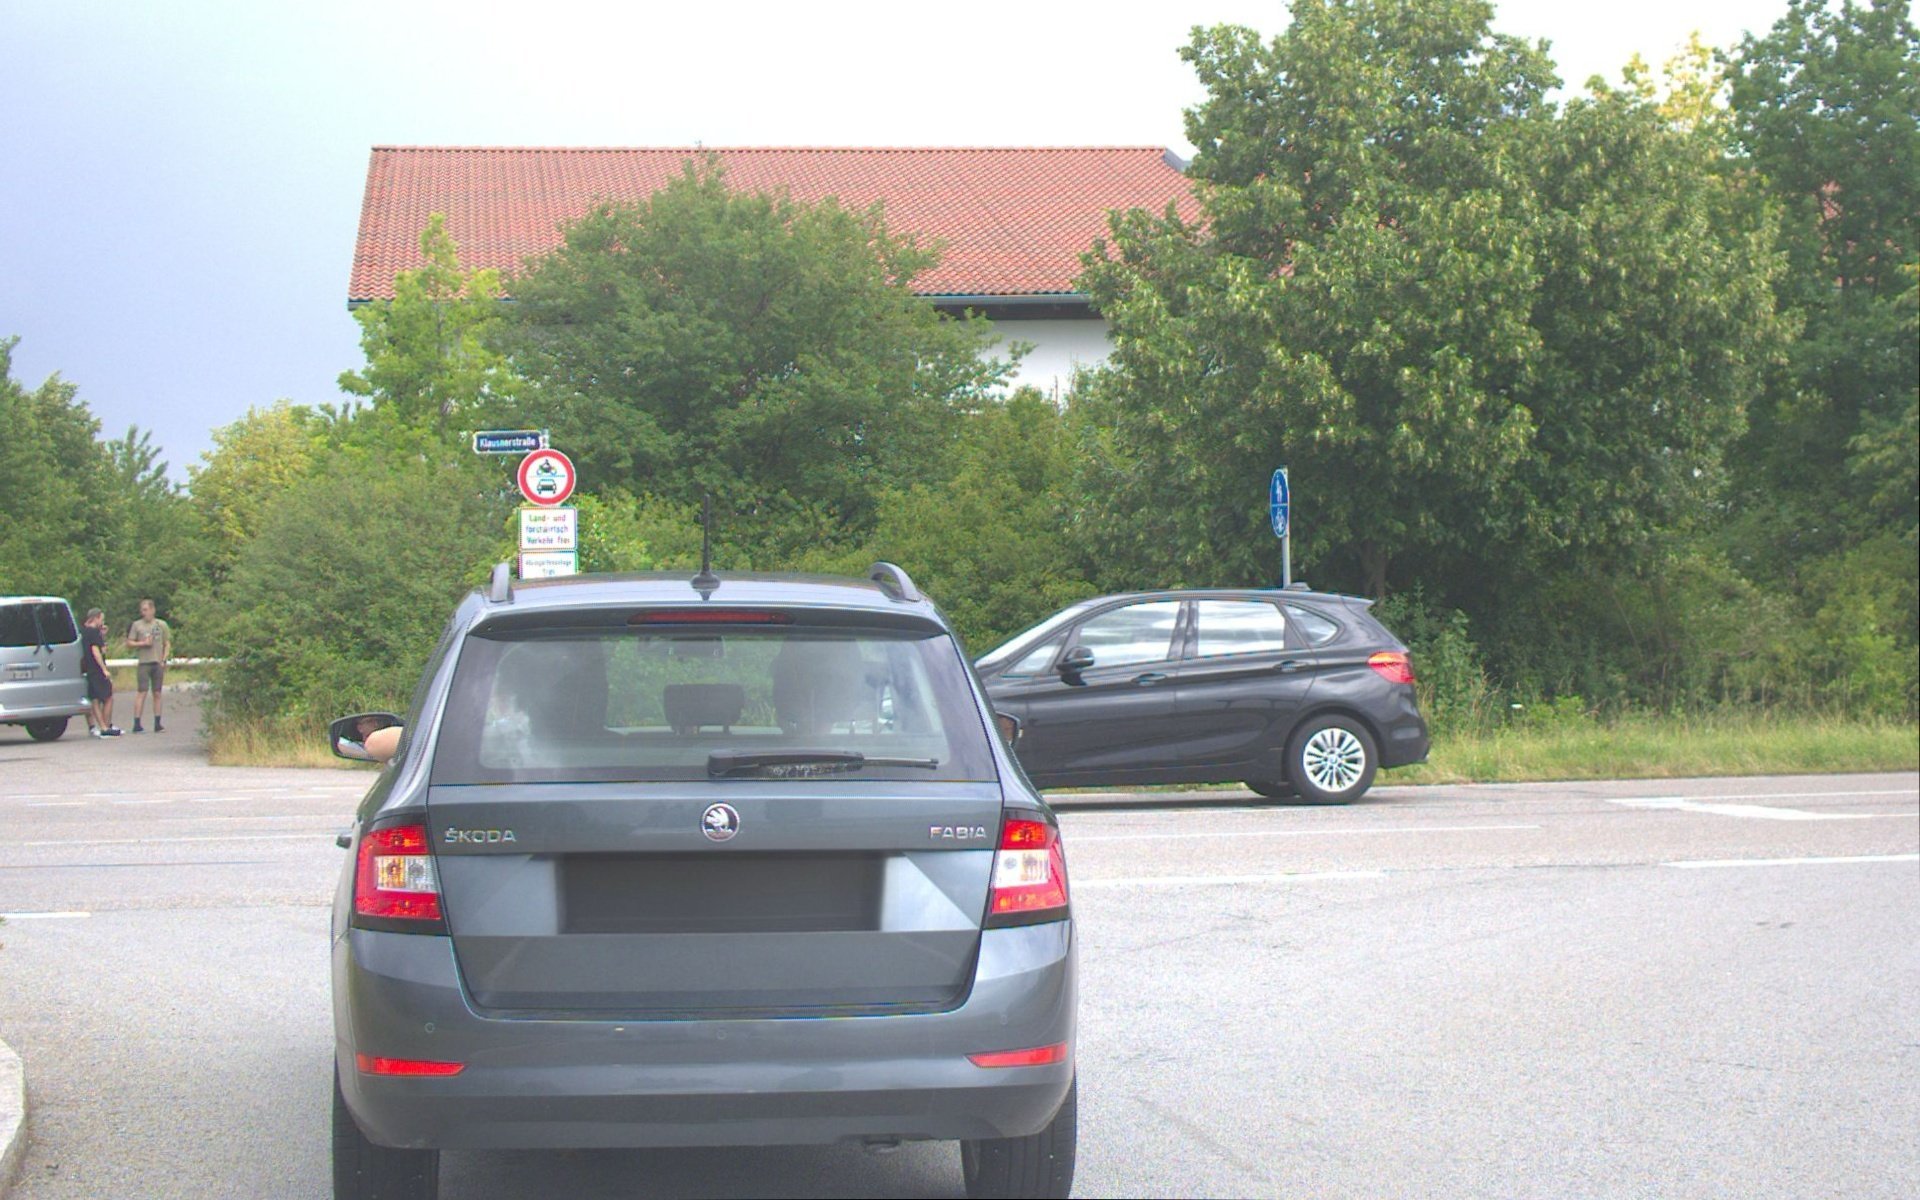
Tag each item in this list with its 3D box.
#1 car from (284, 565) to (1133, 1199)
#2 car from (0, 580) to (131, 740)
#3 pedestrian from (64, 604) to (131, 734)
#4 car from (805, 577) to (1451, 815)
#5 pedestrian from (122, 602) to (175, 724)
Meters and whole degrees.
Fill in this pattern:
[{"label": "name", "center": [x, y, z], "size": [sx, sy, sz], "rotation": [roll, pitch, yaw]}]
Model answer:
[{"label": "car", "center": [-0.715, 0.652, 8.637], "size": [1.676, 1.458, 3.708], "rotation": [0, 0, -7]}, {"label": "car", "center": [-14.018, 0.802, 47.086], "size": [4.907, 2.007, 2.338], "rotation": [-1, 2, 32]}, {"label": "pedestrian", "center": [-11.725, 0.933, 46.720], "size": [0.529, 1.720, 0.640], "rotation": [-1, 2, 31]}, {"label": "car", "center": [1.144, 0.653, 24.724], "size": [4.286, 1.482, 2.000], "rotation": [-2, 0, -8]}, {"label": "pedestrian", "center": [-11.424, 0.880, 48.388], "size": [0.583, 1.677, 0.566], "rotation": [-2, 1, -24]}]
